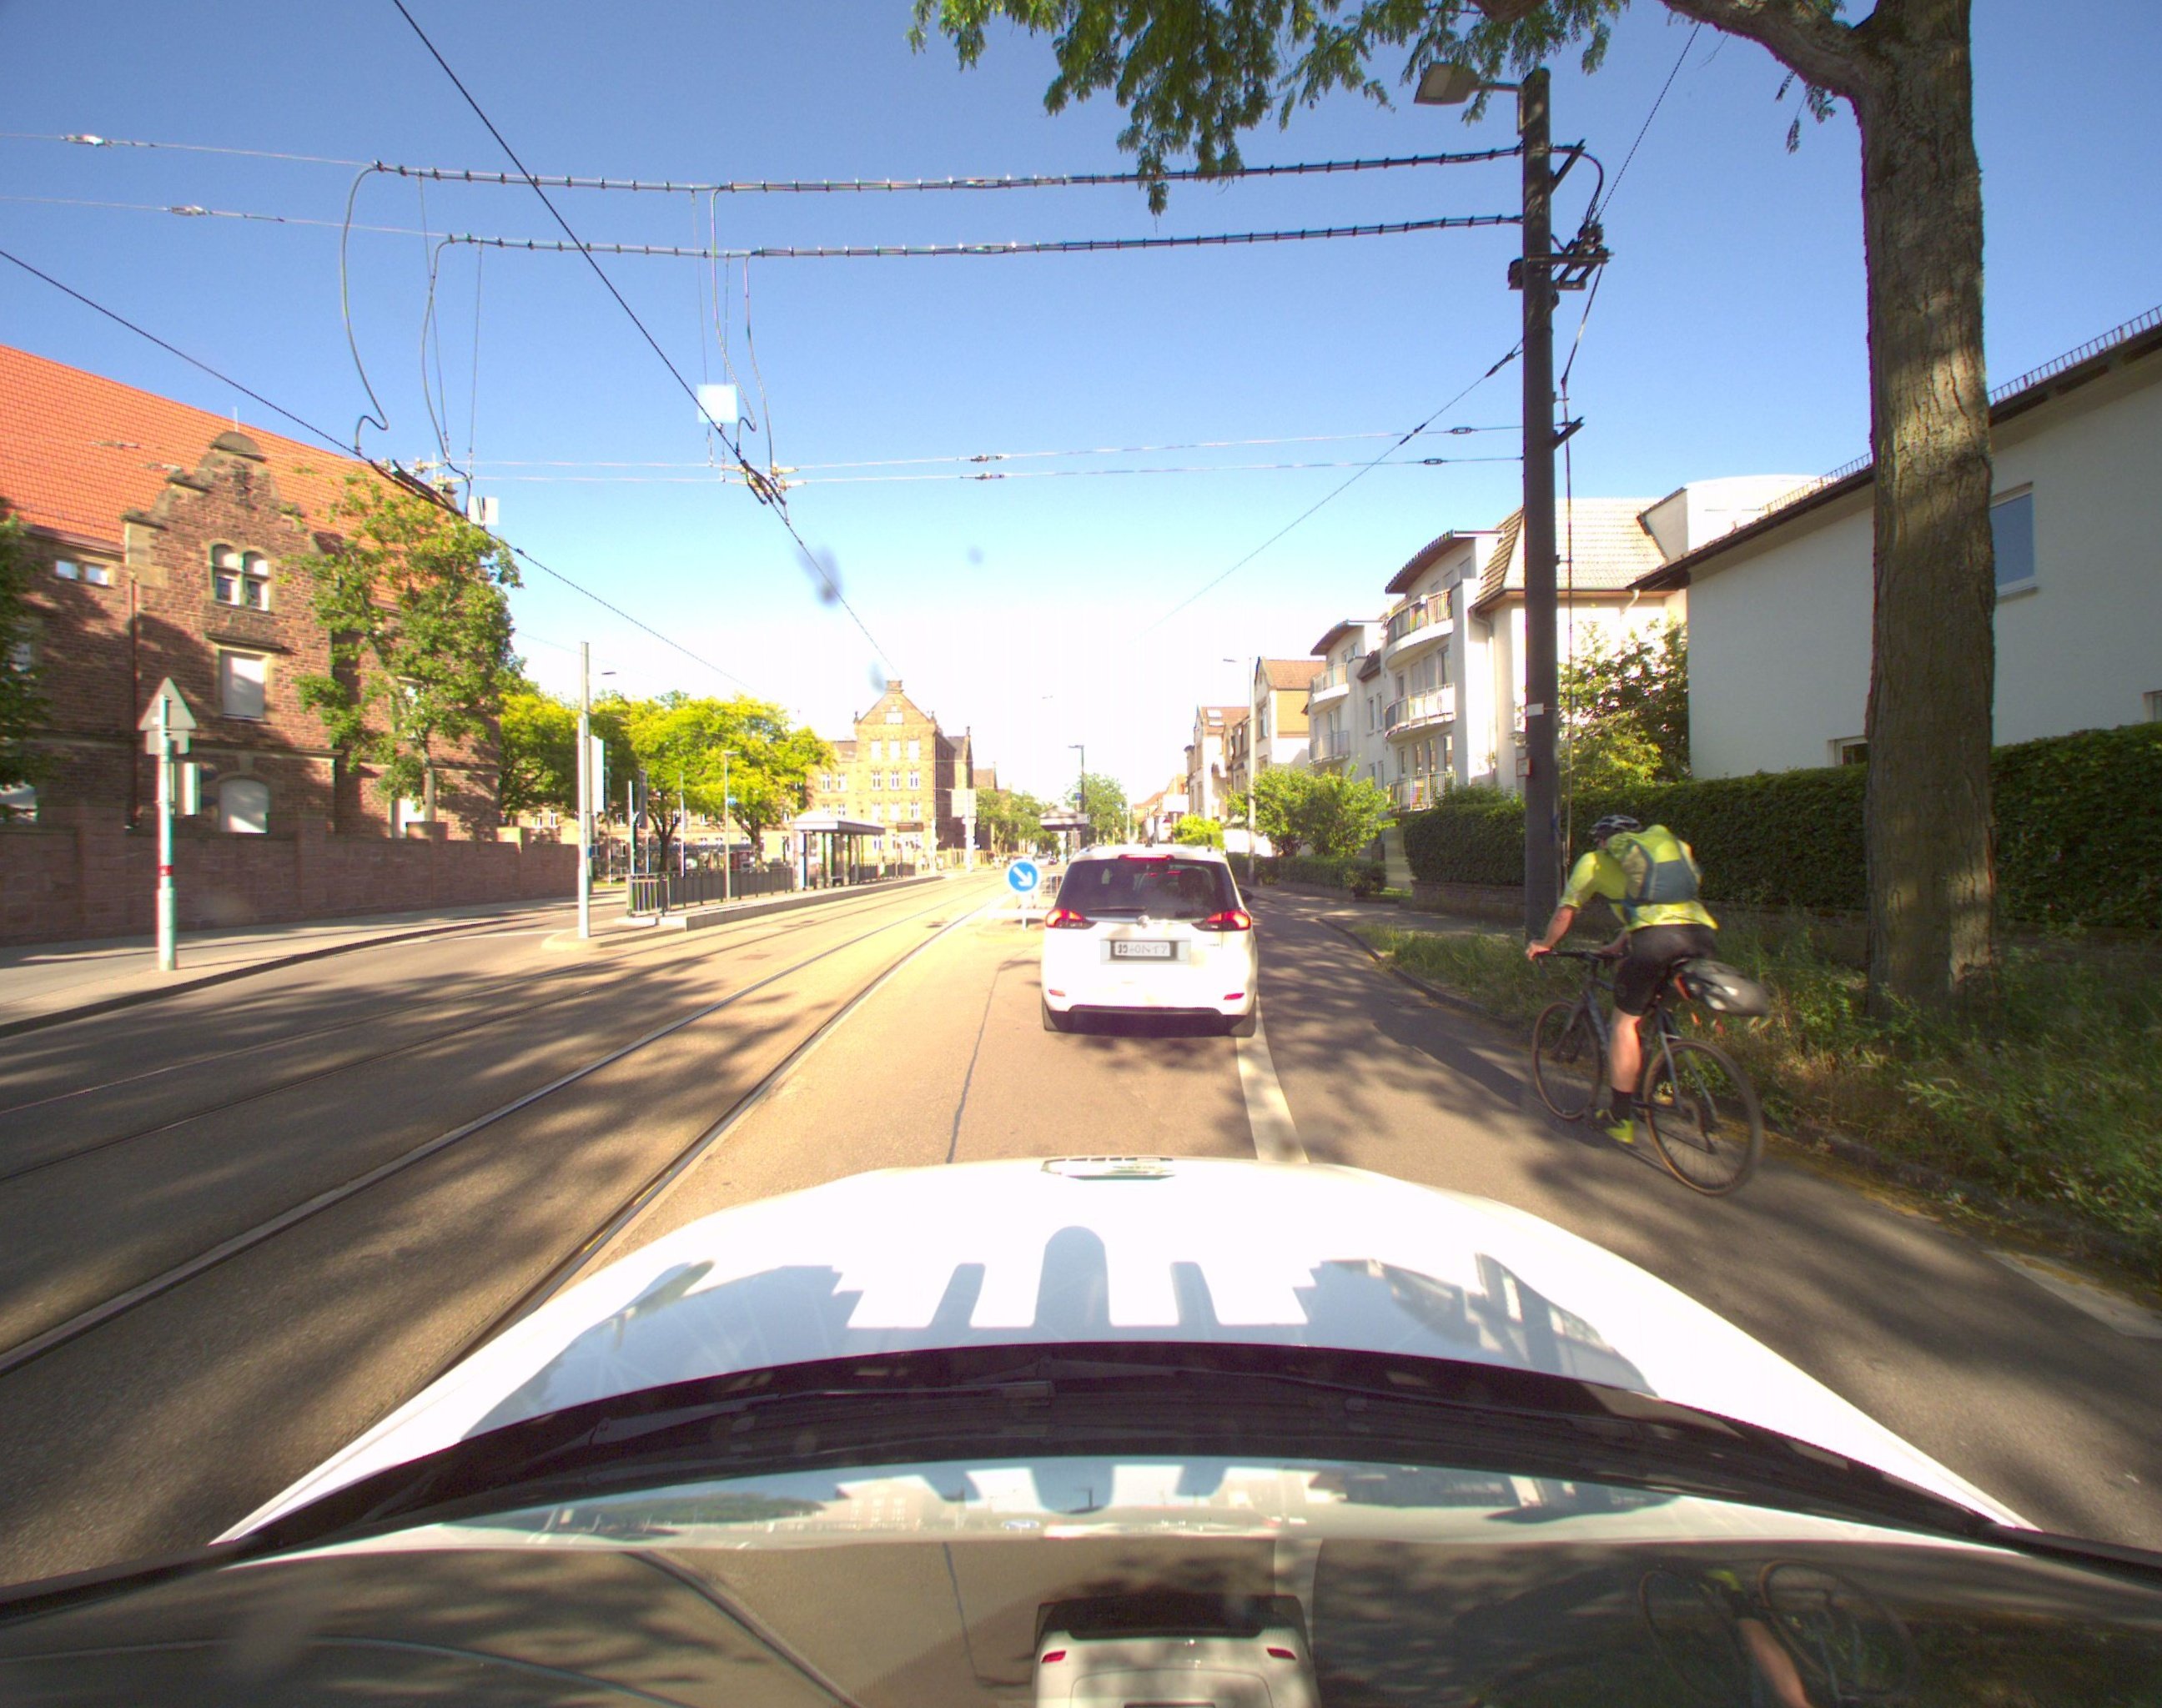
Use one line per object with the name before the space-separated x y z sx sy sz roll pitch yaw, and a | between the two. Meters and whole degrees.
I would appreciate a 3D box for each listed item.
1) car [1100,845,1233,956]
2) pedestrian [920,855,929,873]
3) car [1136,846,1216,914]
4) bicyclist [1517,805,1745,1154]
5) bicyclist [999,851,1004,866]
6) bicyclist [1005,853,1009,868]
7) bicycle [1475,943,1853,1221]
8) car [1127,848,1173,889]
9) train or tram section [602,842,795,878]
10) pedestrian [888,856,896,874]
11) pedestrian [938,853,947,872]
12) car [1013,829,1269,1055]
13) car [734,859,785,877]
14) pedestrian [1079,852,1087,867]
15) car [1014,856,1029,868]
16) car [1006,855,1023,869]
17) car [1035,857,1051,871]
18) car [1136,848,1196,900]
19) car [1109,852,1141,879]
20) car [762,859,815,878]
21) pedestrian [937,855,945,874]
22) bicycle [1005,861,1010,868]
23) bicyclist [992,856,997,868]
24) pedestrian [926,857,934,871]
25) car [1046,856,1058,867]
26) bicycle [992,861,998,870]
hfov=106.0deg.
car | 1.555 0.685 13.858 1.896 1.597 4.010 -1 0 9
pedestrian | -17.629 1.118 91.676 0.683 2.014 0.621 -1 -1 43
car | 2.617 0.636 21.678 1.896 1.624 4.010 -1 0 9
bicyclist | 2.834 0.603 4.278 0.673 1.658 0.745 -1 0 1
bicyclist | -10.688 0.612 109.218 0.496 2.013 0.572 -1 0 1
bicyclist | -10.163 0.932 111.896 0.486 2.014 0.502 0 -1 1
bicycle | 2.845 1.039 4.284 0.673 0.925 1.886 -1 0 2
car | 2.995 0.615 36.179 1.899 1.661 4.003 -1 0 3
train or tram section | -37.841 0.566 81.140 17.346 3.154 3.344 -1 -1 -3
pedestrian | -19.777 1.146 85.062 0.768 1.774 0.717 0 -1 -15
pedestrian | -14.549 0.864 85.506 0.796 2.014 0.717 0 -1 -15
car | 0.752 0.661 8.107 1.896 1.661 4.010 -1 0 9
car | -29.651 1.307 75.207 3.976 1.630 1.817 0 -1 -2
pedestrian | 0.268 0.675 100.598 0.745 1.901 0.804 0 -1 -25
car | -8.325 1.114 114.110 1.740 1.716 4.001 0 -1 2
car | -8.573 1.008 104.895 1.740 1.716 4.001 0 -1 2
car | -4.844 1.220 103.356 1.740 1.716 4.001 0 -1 2
car | 2.973 0.651 28.335 1.897 1.661 4.007 -1 0 6
car | 2.842 0.750 53.172 1.901 1.661 4.000 -1 0 0
car | -25.444 1.232 70.963 3.976 1.630 1.817 0 -1 -2
pedestrian | -15.091 1.098 87.891 0.795 2.014 1.042 0 -1 -12
bicycle | -10.154 1.464 111.910 0.485 0.971 1.406 0 -1 2
bicyclist | -10.861 0.992 101.800 0.529 1.477 0.572 0 -1 1
pedestrian | -17.611 1.217 94.875 0.649 1.612 0.714 -1 -1 18
car | -4.597 1.181 129.388 1.740 1.716 4.001 0 -1 2
bicycle | -10.805 1.399 101.848 0.507 1.077 1.739 0 -1 2
